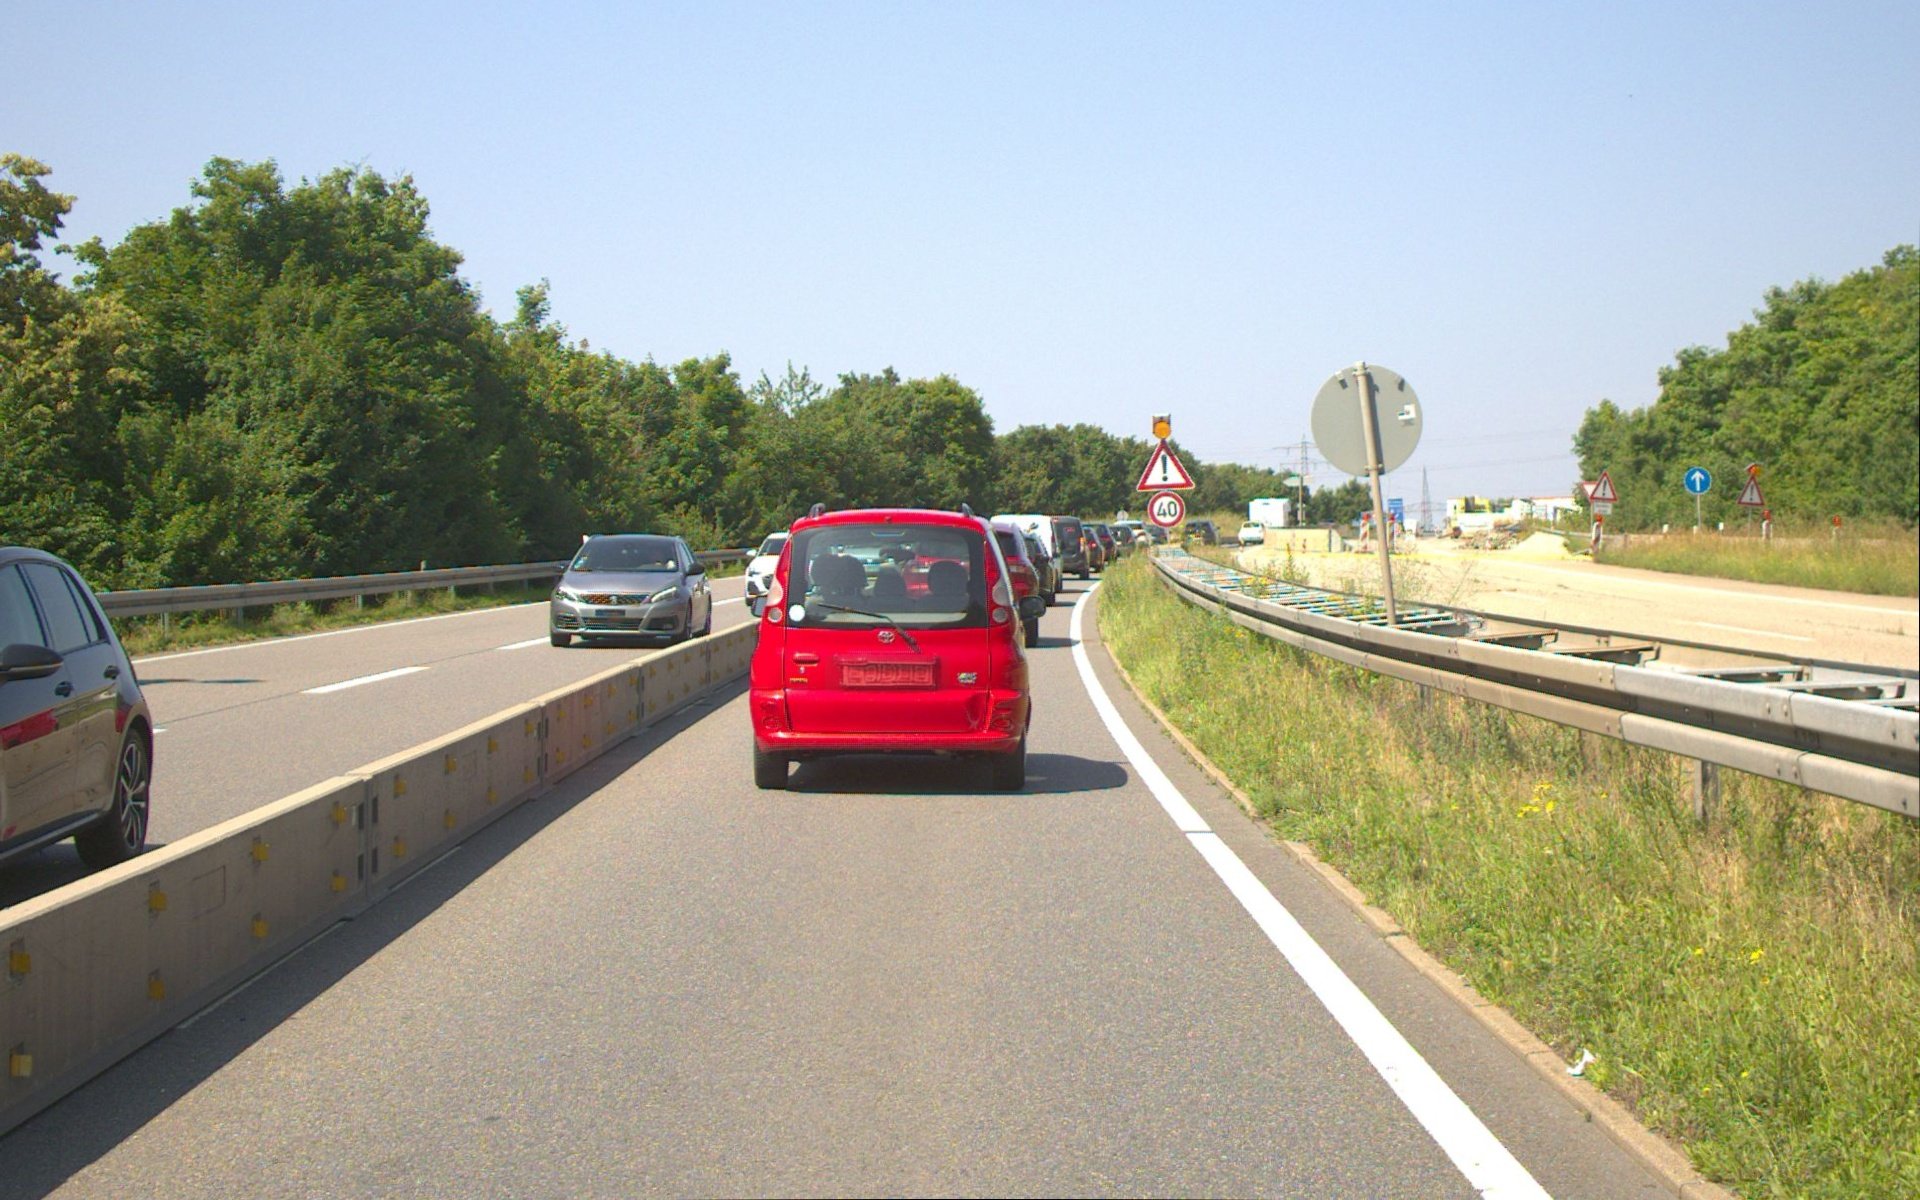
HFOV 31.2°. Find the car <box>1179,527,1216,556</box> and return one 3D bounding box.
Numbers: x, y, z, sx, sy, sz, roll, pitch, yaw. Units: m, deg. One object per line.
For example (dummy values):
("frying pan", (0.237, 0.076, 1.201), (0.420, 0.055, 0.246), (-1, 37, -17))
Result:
("car", (13.035, -3.238, 188.953), (1.994, 1.546, 4.000), (0, 1, 4))

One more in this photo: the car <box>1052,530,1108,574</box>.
("car", (4.368, -1.750, 125.252), (1.993, 1.579, 4.000), (0, 1, 1))

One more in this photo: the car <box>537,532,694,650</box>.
("car", (-4.534, -0.146, 45.741), (1.724, 1.491, 4.389), (0, 1, -1))

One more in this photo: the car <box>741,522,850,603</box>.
("car", (-3.218, -0.763, 68.070), (1.948, 1.533, 4.436), (0, 1, 0))

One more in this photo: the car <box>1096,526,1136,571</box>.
("car", (6.249, -2.069, 137.687), (1.502, 1.730, 3.169), (1, 1, 4))

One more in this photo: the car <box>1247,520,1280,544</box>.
("car", (19.628, -4.399, 222.534), (1.994, 1.481, 4.000), (-1, 1, 3))

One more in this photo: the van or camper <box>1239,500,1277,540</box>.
("van or camper", (20.357, -5.476, 235.035), (2.328, 2.697, 4.593), (-1, 1, 2))

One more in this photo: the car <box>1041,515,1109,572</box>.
("car", (3.669, -1.831, 110.706), (1.993, 1.777, 4.000), (0, 1, -1))

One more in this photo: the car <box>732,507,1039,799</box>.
("car", (-0.449, 0.268, 21.668), (1.751, 1.667, 4.000), (0, 1, -1))

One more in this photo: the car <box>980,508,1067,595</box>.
("car", (1.506, -1.164, 81.094), (1.993, 1.997, 4.000), (0, 1, 1))

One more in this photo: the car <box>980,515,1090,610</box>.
("car", (1.467, -0.763, 68.930), (1.993, 1.831, 4.000), (0, 1, -1))

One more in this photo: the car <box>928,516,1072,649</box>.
("car", (0.502, -0.265, 46.644), (1.830, 1.716, 4.000), (0, 1, -1))

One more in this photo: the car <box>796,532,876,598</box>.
("car", (-3.118, -0.900, 87.215), (1.829, 1.624, 3.784), (0, 1, 1))

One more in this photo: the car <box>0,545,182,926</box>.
("car", (-4.540, 0.497, 13.909), (1.815, 1.419, 4.109), (1, 1, 0))

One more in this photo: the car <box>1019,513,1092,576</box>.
("car", (2.709, -1.597, 97.835), (1.993, 1.744, 4.000), (0, 1, 1))
